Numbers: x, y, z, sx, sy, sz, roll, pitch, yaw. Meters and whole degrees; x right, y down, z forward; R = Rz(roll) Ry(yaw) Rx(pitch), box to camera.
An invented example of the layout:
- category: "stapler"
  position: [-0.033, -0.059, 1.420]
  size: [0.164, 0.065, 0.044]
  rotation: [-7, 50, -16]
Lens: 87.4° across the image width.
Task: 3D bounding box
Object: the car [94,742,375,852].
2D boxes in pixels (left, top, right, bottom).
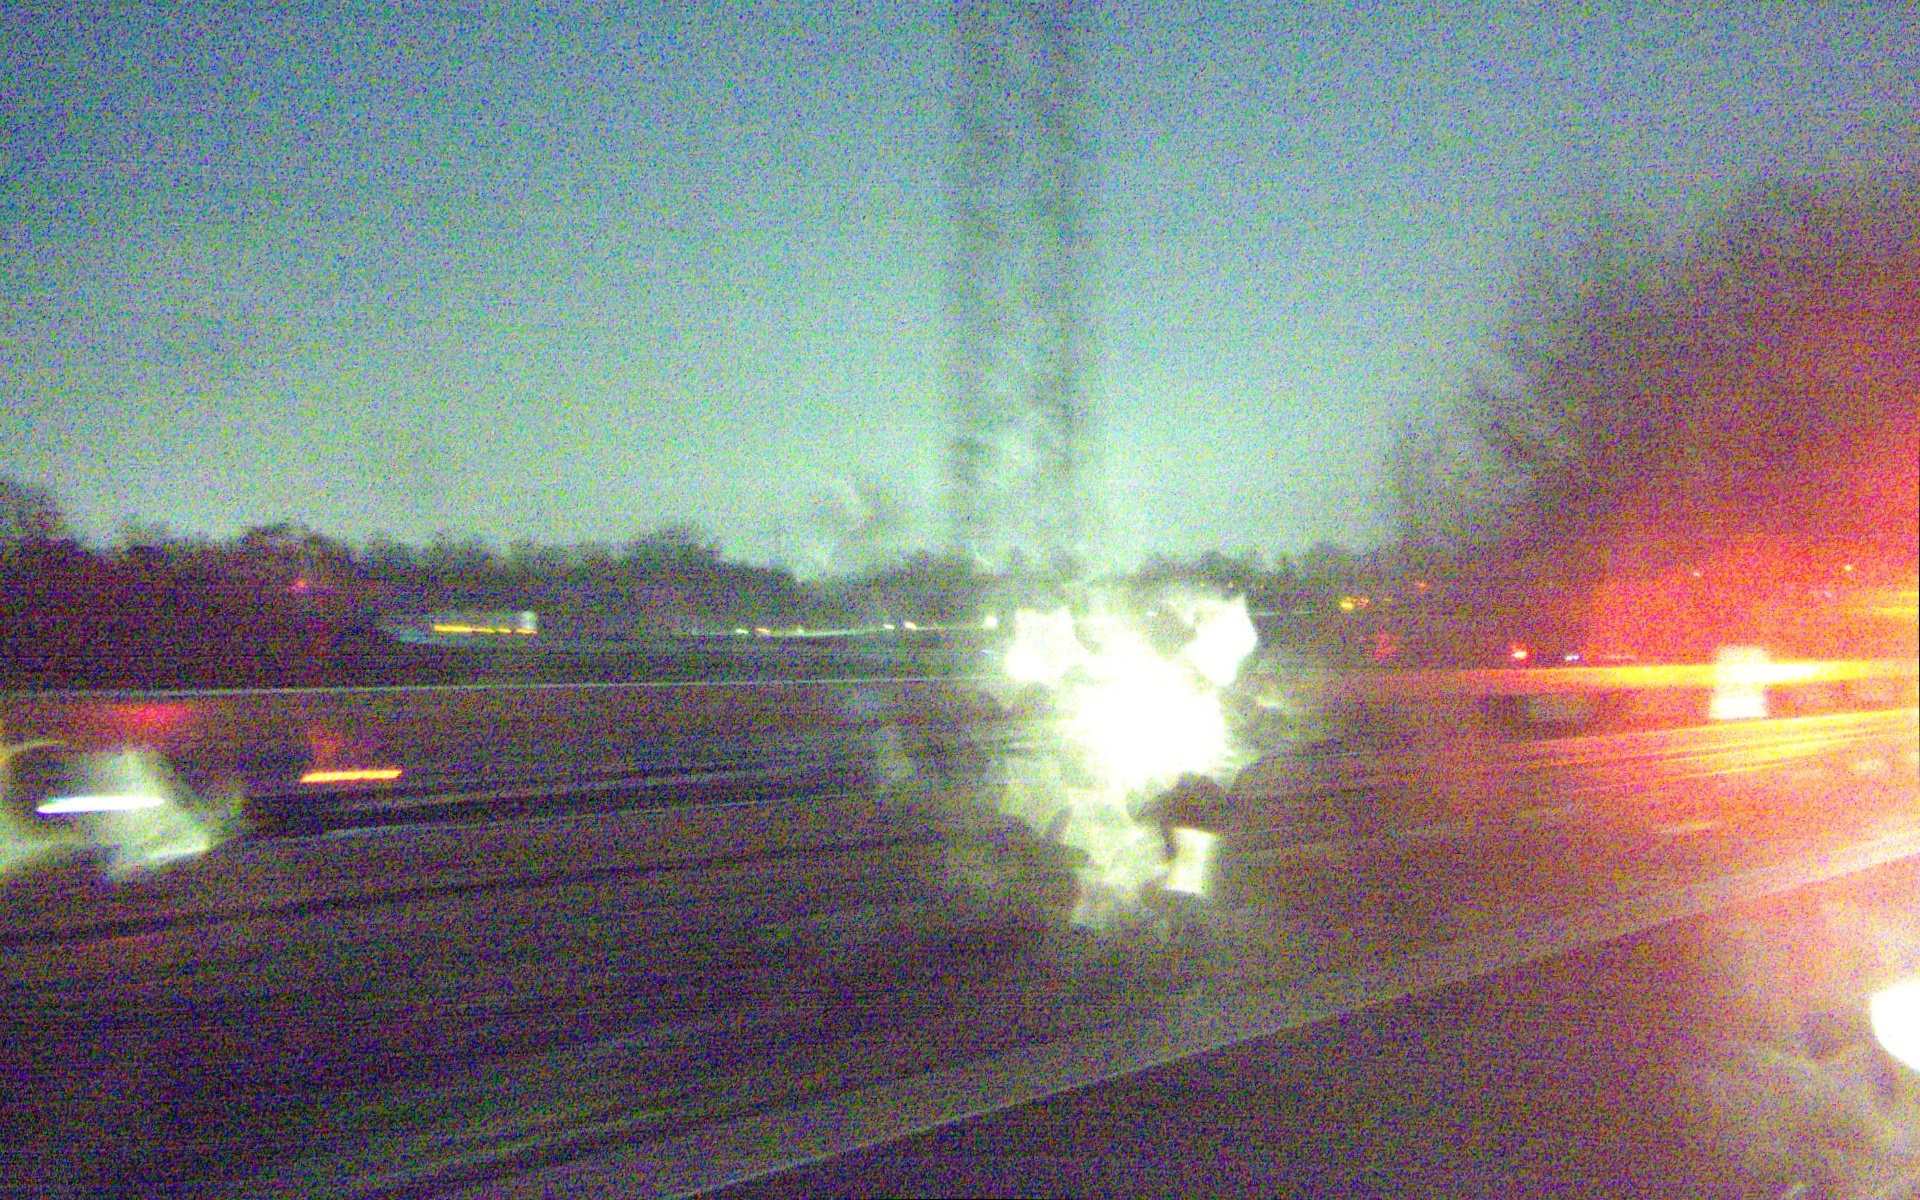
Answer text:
- category: "car"
  position: [-13.302, 3.528, 18.575]
  size: [4.015, 1.509, 1.743]
  rotation: [4, -4, -41]

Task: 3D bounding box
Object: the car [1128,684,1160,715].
- category: "car"
  position: [10.592, 5.684, 57.709]
  size: [1.710, 1.444, 4.103]
  rotation: [1, -2, 11]

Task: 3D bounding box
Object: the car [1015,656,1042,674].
- category: "car"
  position: [6.379, 6.072, 93.638]
  size: [1.480, 1.446, 3.422]
  rotation: [4, -2, -14]
